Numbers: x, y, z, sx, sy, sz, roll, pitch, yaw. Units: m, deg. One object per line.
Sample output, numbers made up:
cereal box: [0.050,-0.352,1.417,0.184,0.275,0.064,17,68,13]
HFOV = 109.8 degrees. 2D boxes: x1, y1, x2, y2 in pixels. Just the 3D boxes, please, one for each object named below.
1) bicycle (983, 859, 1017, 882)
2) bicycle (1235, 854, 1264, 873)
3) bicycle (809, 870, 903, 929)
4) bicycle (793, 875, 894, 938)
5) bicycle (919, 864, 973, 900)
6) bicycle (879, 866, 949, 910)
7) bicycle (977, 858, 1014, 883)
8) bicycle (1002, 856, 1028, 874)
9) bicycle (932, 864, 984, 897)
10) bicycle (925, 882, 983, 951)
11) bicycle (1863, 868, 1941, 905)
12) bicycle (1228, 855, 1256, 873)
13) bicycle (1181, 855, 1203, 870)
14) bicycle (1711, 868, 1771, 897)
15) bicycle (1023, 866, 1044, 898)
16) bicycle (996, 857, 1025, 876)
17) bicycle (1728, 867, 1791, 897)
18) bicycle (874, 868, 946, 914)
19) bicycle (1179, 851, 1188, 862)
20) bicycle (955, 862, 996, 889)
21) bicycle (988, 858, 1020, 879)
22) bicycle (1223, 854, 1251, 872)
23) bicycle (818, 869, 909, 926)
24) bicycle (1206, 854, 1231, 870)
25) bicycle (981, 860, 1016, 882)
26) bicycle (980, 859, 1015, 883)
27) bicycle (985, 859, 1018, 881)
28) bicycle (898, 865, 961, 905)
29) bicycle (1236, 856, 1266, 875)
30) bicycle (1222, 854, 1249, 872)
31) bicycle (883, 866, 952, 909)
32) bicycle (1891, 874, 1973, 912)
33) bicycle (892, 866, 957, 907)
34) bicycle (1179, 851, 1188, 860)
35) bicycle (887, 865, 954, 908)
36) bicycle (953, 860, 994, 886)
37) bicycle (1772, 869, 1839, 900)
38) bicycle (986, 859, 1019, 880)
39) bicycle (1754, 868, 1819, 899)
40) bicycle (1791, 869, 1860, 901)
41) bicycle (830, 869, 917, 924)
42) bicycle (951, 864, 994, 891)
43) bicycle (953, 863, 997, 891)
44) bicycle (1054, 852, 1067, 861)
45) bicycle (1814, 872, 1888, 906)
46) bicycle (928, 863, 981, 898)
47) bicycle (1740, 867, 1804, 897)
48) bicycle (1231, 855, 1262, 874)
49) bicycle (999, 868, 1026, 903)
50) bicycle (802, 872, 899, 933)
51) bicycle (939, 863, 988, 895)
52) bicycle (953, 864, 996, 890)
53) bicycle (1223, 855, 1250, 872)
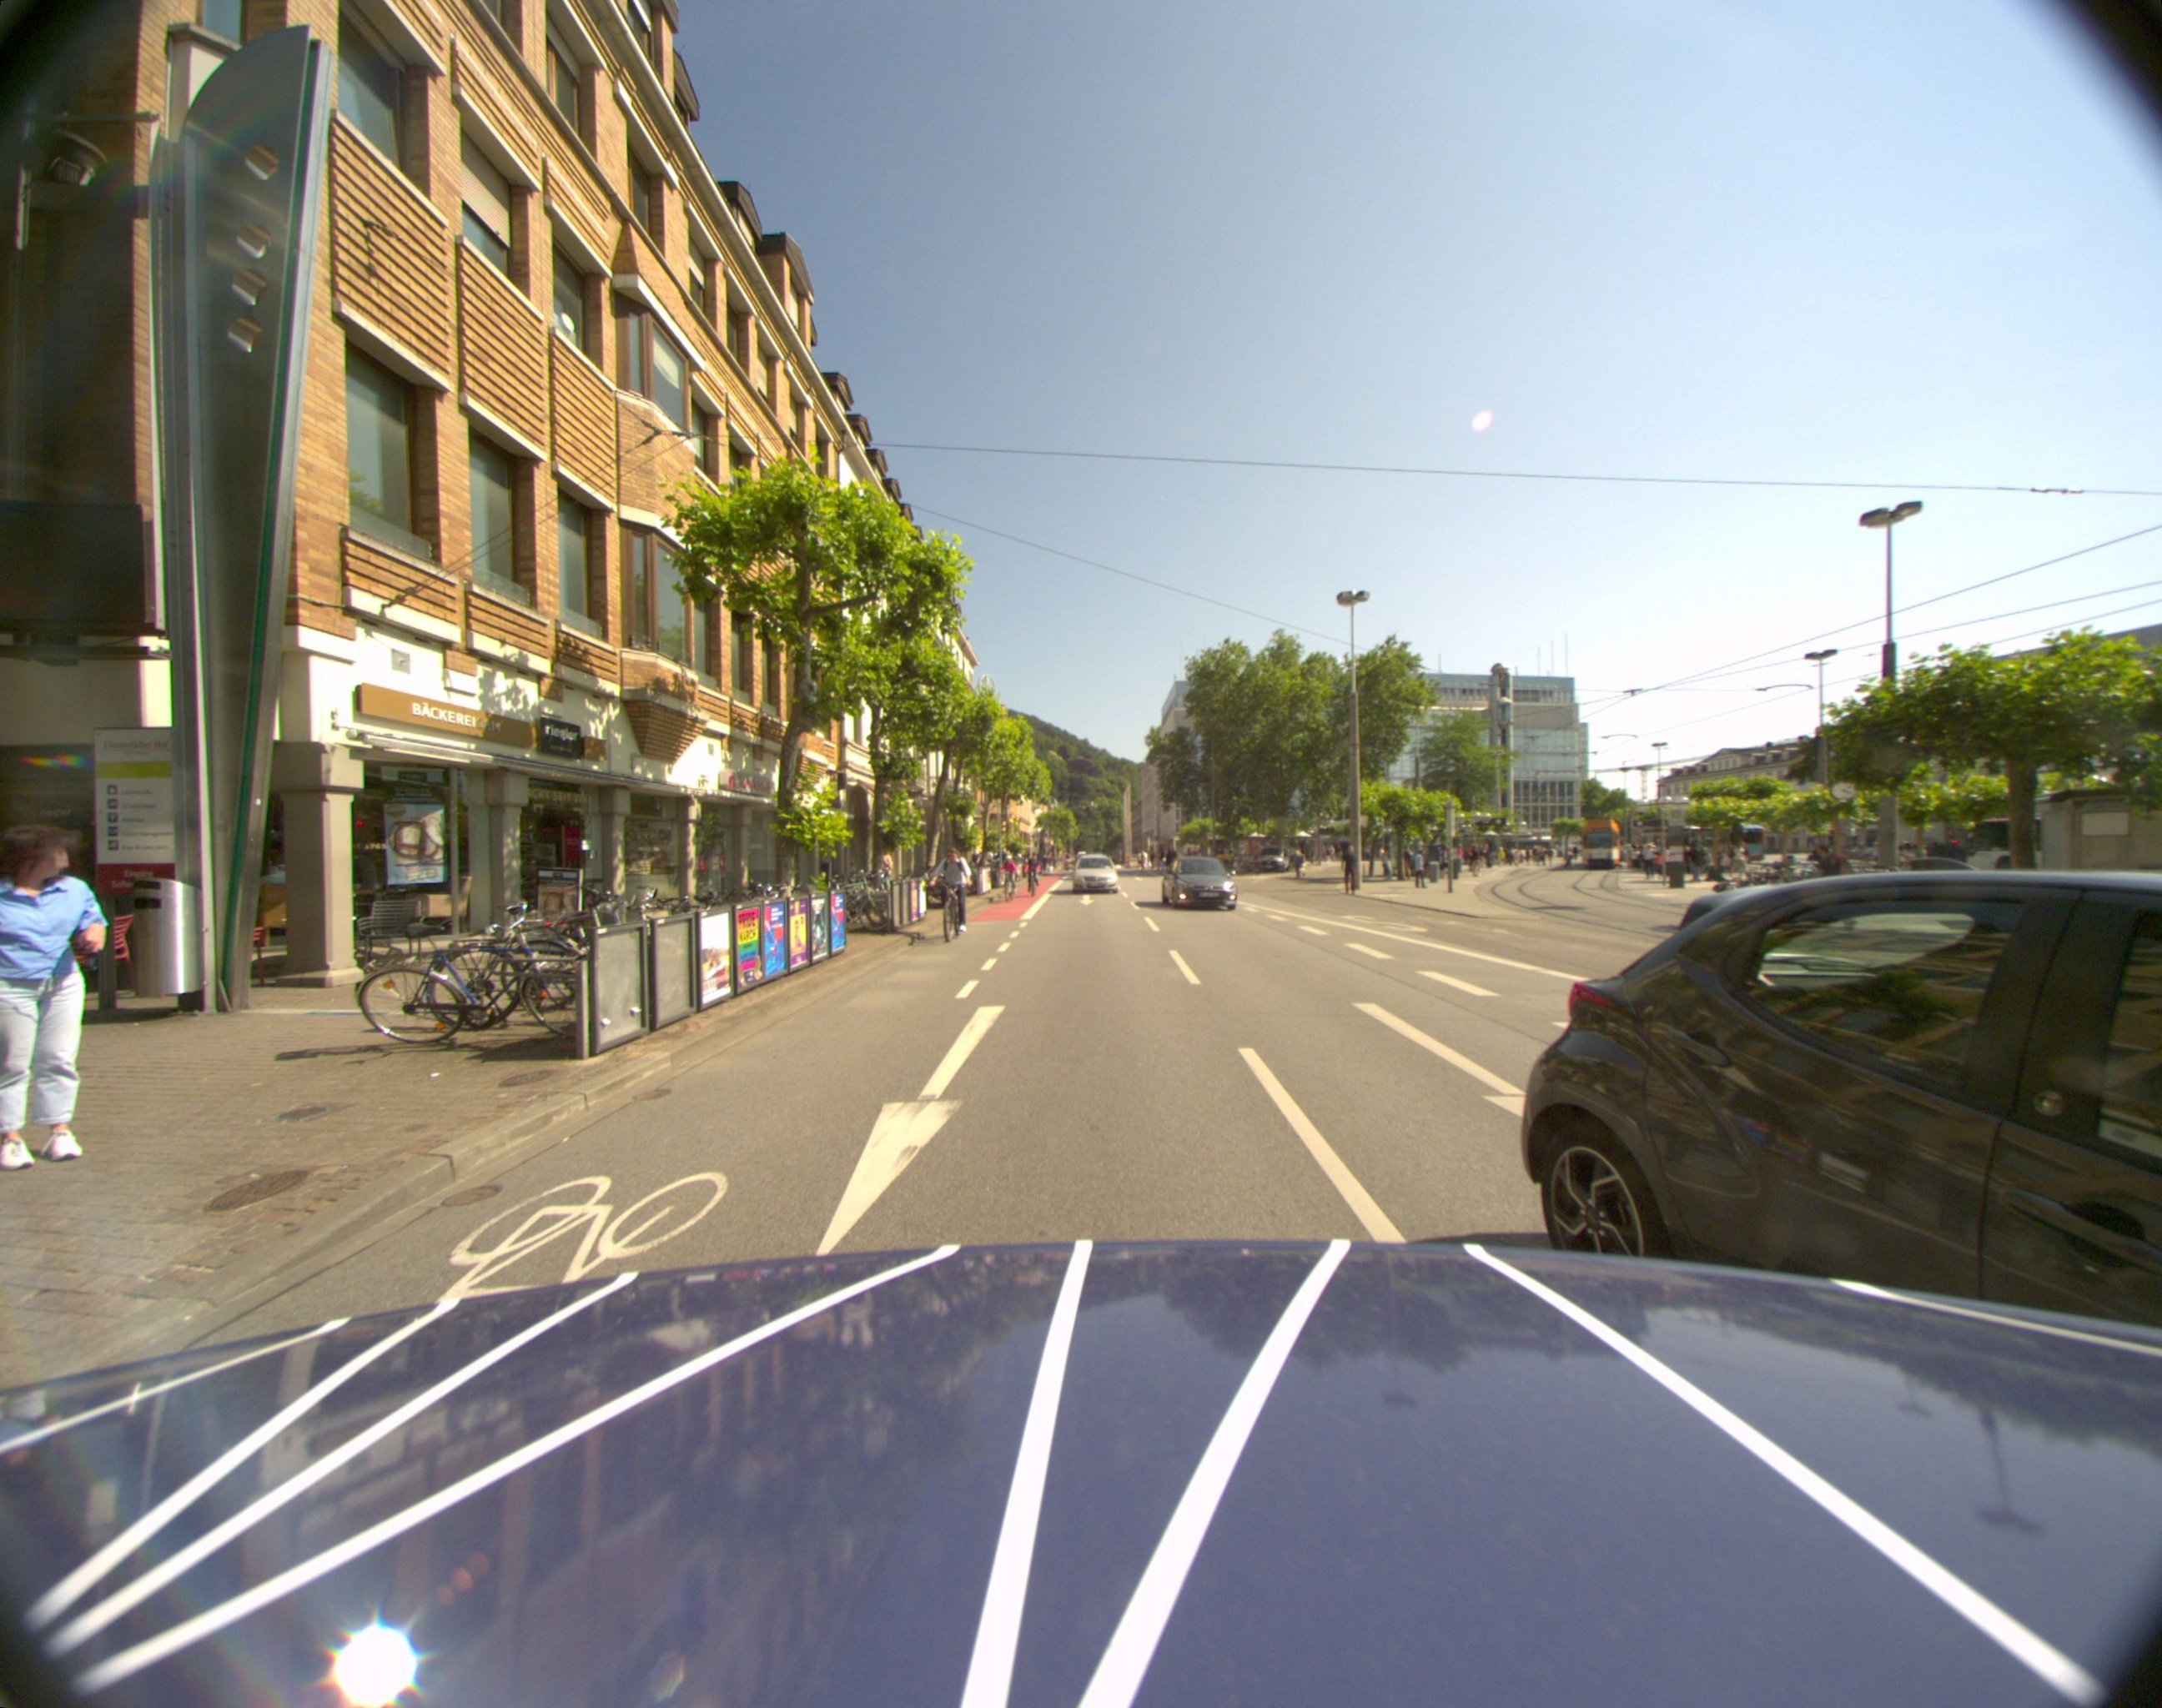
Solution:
bicycle: [-4.394,0.890,41.079,1.757,1.140,0.483,-1,1,-1]
bicycle: [10.722,0.623,48.369,1.757,1.140,0.483,-1,1,-1]
bicycle: [-4.610,0.925,15.646,1.757,1.140,0.483,-1,1,-1]
bicycle: [-4.558,1.004,14.652,1.757,1.140,0.483,-1,1,-1]
bicycle: [-4.644,0.953,26.162,1.757,1.180,0.483,-1,1,-1]
bicycle: [-4.514,0.916,20.598,1.757,1.140,0.483,-1,1,-1]
bicycle: [-4.323,0.823,38.631,1.804,1.187,0.483,-1,1,-1]
bicycle: [-4.545,0.751,52.301,1.757,1.140,0.592,-1,1,-1]
bicycle: [-4.425,0.942,27.303,1.757,1.140,0.483,-1,1,-1]
bicycle: [-2.351,1.124,14.246,0.736,1.086,1.897,-3,1,-1]
bicycle: [22.441,0.886,20.770,1.871,0.864,0.581,-3,1,-12]
bicycle: [10.686,0.669,50.368,1.757,1.140,0.483,-1,1,-1]
bicycle: [8.445,0.639,58.021,0.831,1.017,2.624,-3,1,-10]
bicycle: [22.570,0.955,25.984,1.871,0.851,0.546,-3,1,-12]
bicycle: [-1.759,1.012,28.172,0.667,1.086,1.897,-3,1,-2]
bicycle: [-4.415,0.801,47.944,1.757,1.140,0.592,-1,1,-1]
bicycle: [22.647,0.921,25.363,1.871,0.867,0.582,-3,1,-12]
bicycle: [-4.499,0.960,20.082,1.757,1.140,0.483,-1,1,-1]
bicycle: [11.688,0.254,86.390,0.729,1.137,1.914,-3,1,14]
bicycle: [-4.682,0.949,33.814,1.757,1.140,0.483,-1,1,-1]
bicycle: [-4.445,0.850,43.870,1.757,1.140,0.592,-1,1,-1]
bicycle: [10.506,0.615,51.154,1.757,1.140,0.483,-1,1,-1]
bicycle: [-4.621,0.908,16.204,1.757,1.140,0.483,-1,1,-1]
bicycle: [10.419,0.595,57.485,1.757,1.140,0.483,-1,1,-1]
bicycle: [-4.319,0.888,39.820,1.757,1.140,0.483,-1,1,-1]
bicycle: [-4.299,0.875,39.229,1.757,1.140,0.483,-1,1,-1]
bicycle: [-4.394,0.868,42.200,1.757,1.140,0.592,-1,1,-1]
bicycle: [-4.551,0.934,22.896,1.757,1.140,0.499,-1,1,-1]
bicycle: [10.732,0.704,47.940,1.757,1.140,0.483,-1,1,-1]
bicycle: [10.513,0.619,51.681,1.757,1.140,0.483,-1,1,-1]
bicycle: [-4.530,0.921,21.111,1.757,1.140,0.483,-1,1,-1]
bicycle: [22.596,1.017,20.180,1.871,0.864,0.581,-3,1,-12]
bicycle: [-4.558,0.940,22.196,1.757,1.140,0.483,-1,1,-1]
bicycle: [12.943,0.185,95.883,0.592,1.140,1.757,-2,1,-7]
bicycle: [-4.554,0.912,21.619,1.757,1.140,0.483,-1,1,-1]
bicycle: [-4.931,0.879,34.864,1.757,1.140,0.483,-1,1,-1]
bicycle: [22.590,0.939,23.699,1.871,0.851,0.546,-3,1,-12]
bicycle: [-4.431,0.862,42.853,1.757,1.140,0.592,-1,1,-1]
bicycle: [22.546,0.930,24.289,1.871,0.851,0.546,-3,1,-12]
bicycle: [22.589,0.934,23.068,1.871,0.851,0.546,-3,1,-12]
bicycle: [-4.588,0.937,16.820,1.757,1.140,0.483,-1,1,-1]
bicycle: [-4.647,0.993,32.655,1.757,1.081,0.483,-1,1,-1]
bicycle: [-4.464,0.974,32.130,1.757,1.099,0.483,-1,1,-1]
bicycle: [-2.801,0.376,105.570,1.757,1.140,0.592,-1,1,-1]
bicycle: [22.407,1.003,22.108,1.871,0.864,0.581,-3,1,-12]
bicycle: [-4.443,0.931,26.762,1.757,1.140,0.483,-1,1,-1]
bicycle: [22.592,0.905,24.829,1.871,0.851,0.546,-3,1,-12]
bicycle: [10.709,0.680,49.249,1.865,1.140,0.483,-1,1,-1]
bicycle: [-2.293,1.048,25.628,0.736,1.086,1.819,-2,0,-1]
bicycle: [-4.585,0.958,15.150,1.757,1.140,0.483,-1,1,-1]
bicycle: [-4.393,0.918,28.485,1.757,1.140,0.483,-1,1,-1]
bicycle: [-4.638,0.993,33.162,1.757,1.062,0.483,-1,1,-1]
bicycle: [10.692,0.644,52.305,1.757,1.140,0.483,-1,1,-1]
